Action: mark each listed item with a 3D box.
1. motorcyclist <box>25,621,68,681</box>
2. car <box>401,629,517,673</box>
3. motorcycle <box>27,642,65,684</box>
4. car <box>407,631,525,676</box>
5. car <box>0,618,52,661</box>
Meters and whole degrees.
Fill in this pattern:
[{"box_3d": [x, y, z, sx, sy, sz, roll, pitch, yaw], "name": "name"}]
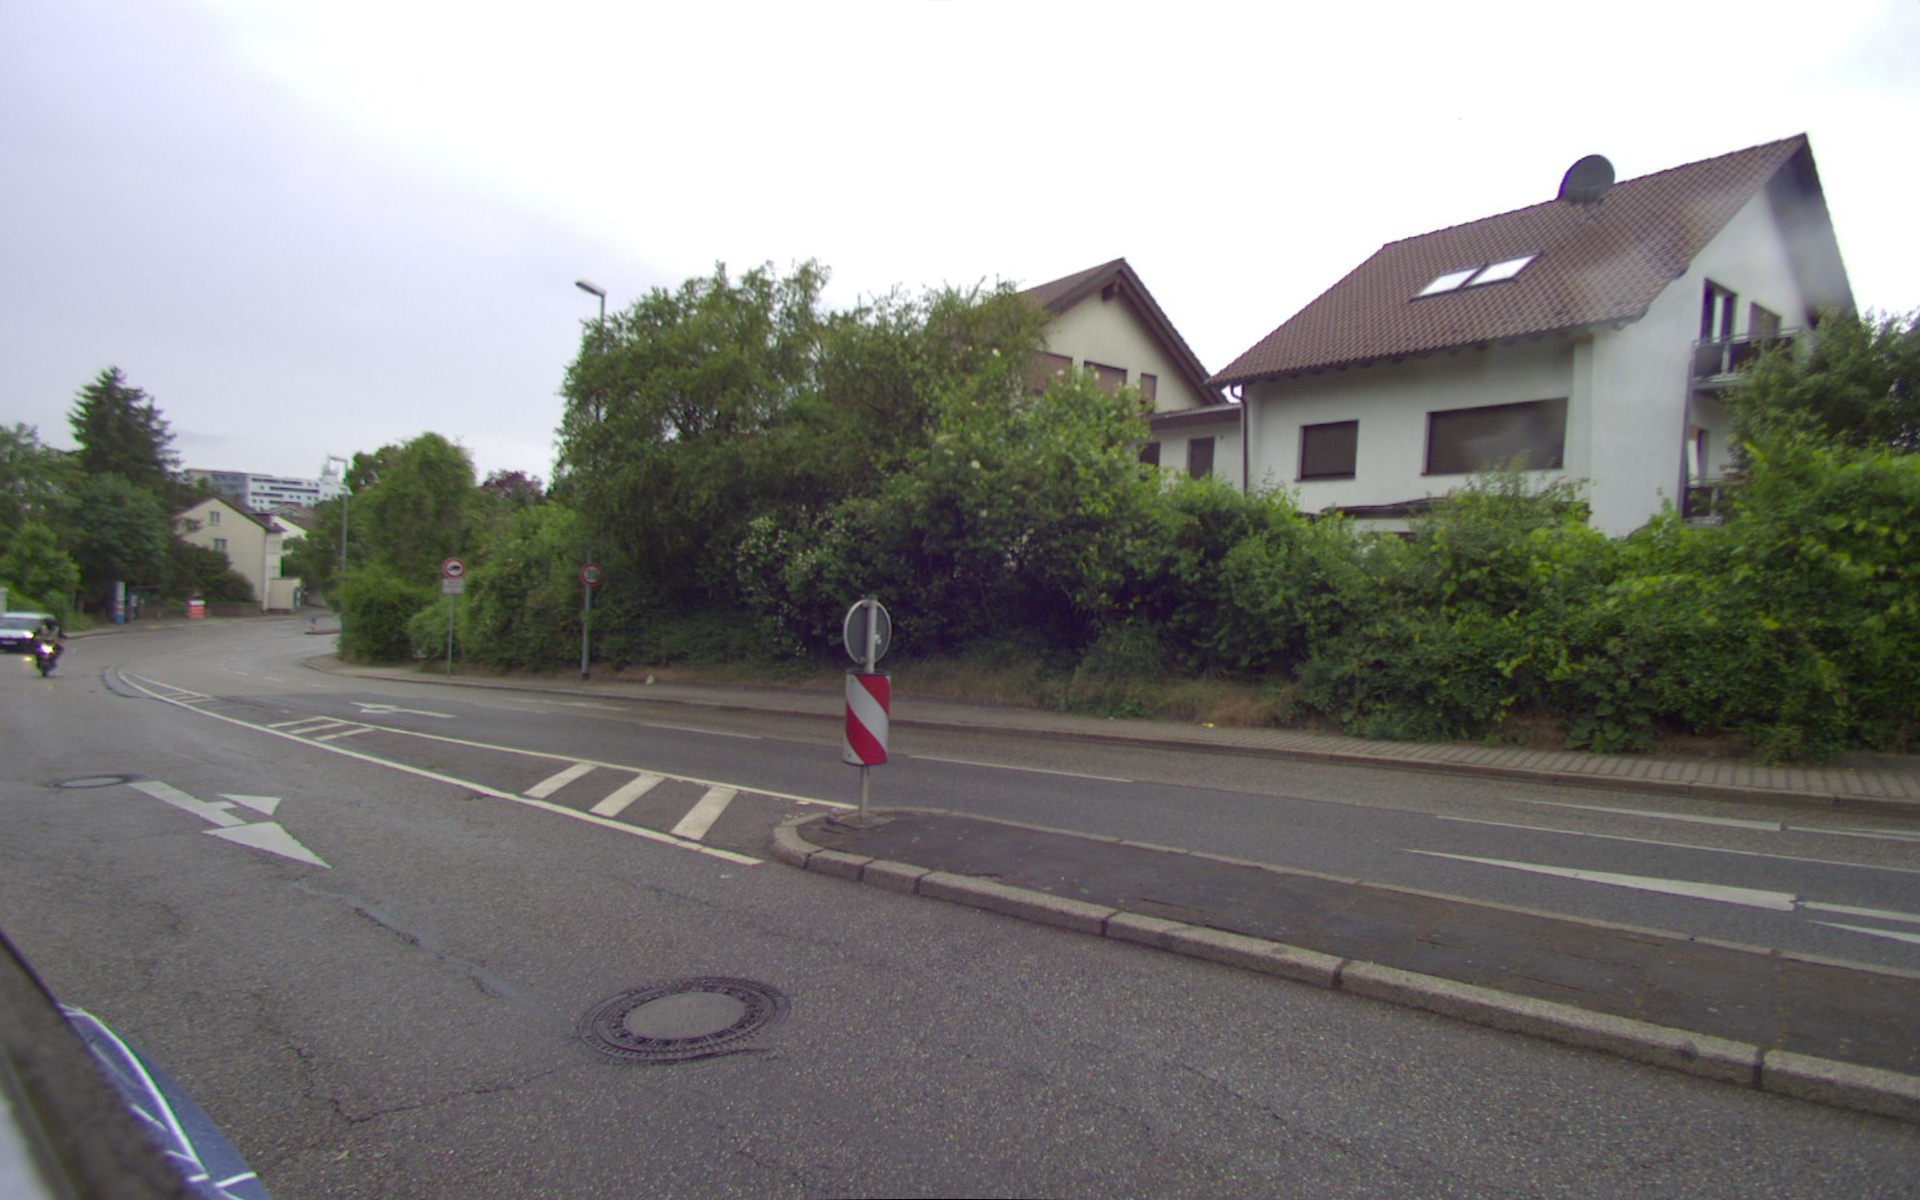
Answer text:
[{"box_3d": [-25.741, 1.438, 28.514, 0.756, 1.655, 0.675, 5, -4, -44], "name": "motorcyclist"}, {"box_3d": [-21.020, 2.086, 42.533, 3.939, 1.548, 2.003, -3, 0, -42], "name": "car"}, {"box_3d": [-25.693, 1.768, 28.440, 0.682, 1.061, 1.749, 6, -4, -43], "name": "motorcycle"}, {"box_3d": [-19.530, 2.078, 40.091, 3.853, 1.451, 1.814, -3, 0, -41], "name": "car"}, {"box_3d": [-43.365, 1.790, 46.462, 1.749, 1.788, 4.011, 6, -4, -33], "name": "car"}]
